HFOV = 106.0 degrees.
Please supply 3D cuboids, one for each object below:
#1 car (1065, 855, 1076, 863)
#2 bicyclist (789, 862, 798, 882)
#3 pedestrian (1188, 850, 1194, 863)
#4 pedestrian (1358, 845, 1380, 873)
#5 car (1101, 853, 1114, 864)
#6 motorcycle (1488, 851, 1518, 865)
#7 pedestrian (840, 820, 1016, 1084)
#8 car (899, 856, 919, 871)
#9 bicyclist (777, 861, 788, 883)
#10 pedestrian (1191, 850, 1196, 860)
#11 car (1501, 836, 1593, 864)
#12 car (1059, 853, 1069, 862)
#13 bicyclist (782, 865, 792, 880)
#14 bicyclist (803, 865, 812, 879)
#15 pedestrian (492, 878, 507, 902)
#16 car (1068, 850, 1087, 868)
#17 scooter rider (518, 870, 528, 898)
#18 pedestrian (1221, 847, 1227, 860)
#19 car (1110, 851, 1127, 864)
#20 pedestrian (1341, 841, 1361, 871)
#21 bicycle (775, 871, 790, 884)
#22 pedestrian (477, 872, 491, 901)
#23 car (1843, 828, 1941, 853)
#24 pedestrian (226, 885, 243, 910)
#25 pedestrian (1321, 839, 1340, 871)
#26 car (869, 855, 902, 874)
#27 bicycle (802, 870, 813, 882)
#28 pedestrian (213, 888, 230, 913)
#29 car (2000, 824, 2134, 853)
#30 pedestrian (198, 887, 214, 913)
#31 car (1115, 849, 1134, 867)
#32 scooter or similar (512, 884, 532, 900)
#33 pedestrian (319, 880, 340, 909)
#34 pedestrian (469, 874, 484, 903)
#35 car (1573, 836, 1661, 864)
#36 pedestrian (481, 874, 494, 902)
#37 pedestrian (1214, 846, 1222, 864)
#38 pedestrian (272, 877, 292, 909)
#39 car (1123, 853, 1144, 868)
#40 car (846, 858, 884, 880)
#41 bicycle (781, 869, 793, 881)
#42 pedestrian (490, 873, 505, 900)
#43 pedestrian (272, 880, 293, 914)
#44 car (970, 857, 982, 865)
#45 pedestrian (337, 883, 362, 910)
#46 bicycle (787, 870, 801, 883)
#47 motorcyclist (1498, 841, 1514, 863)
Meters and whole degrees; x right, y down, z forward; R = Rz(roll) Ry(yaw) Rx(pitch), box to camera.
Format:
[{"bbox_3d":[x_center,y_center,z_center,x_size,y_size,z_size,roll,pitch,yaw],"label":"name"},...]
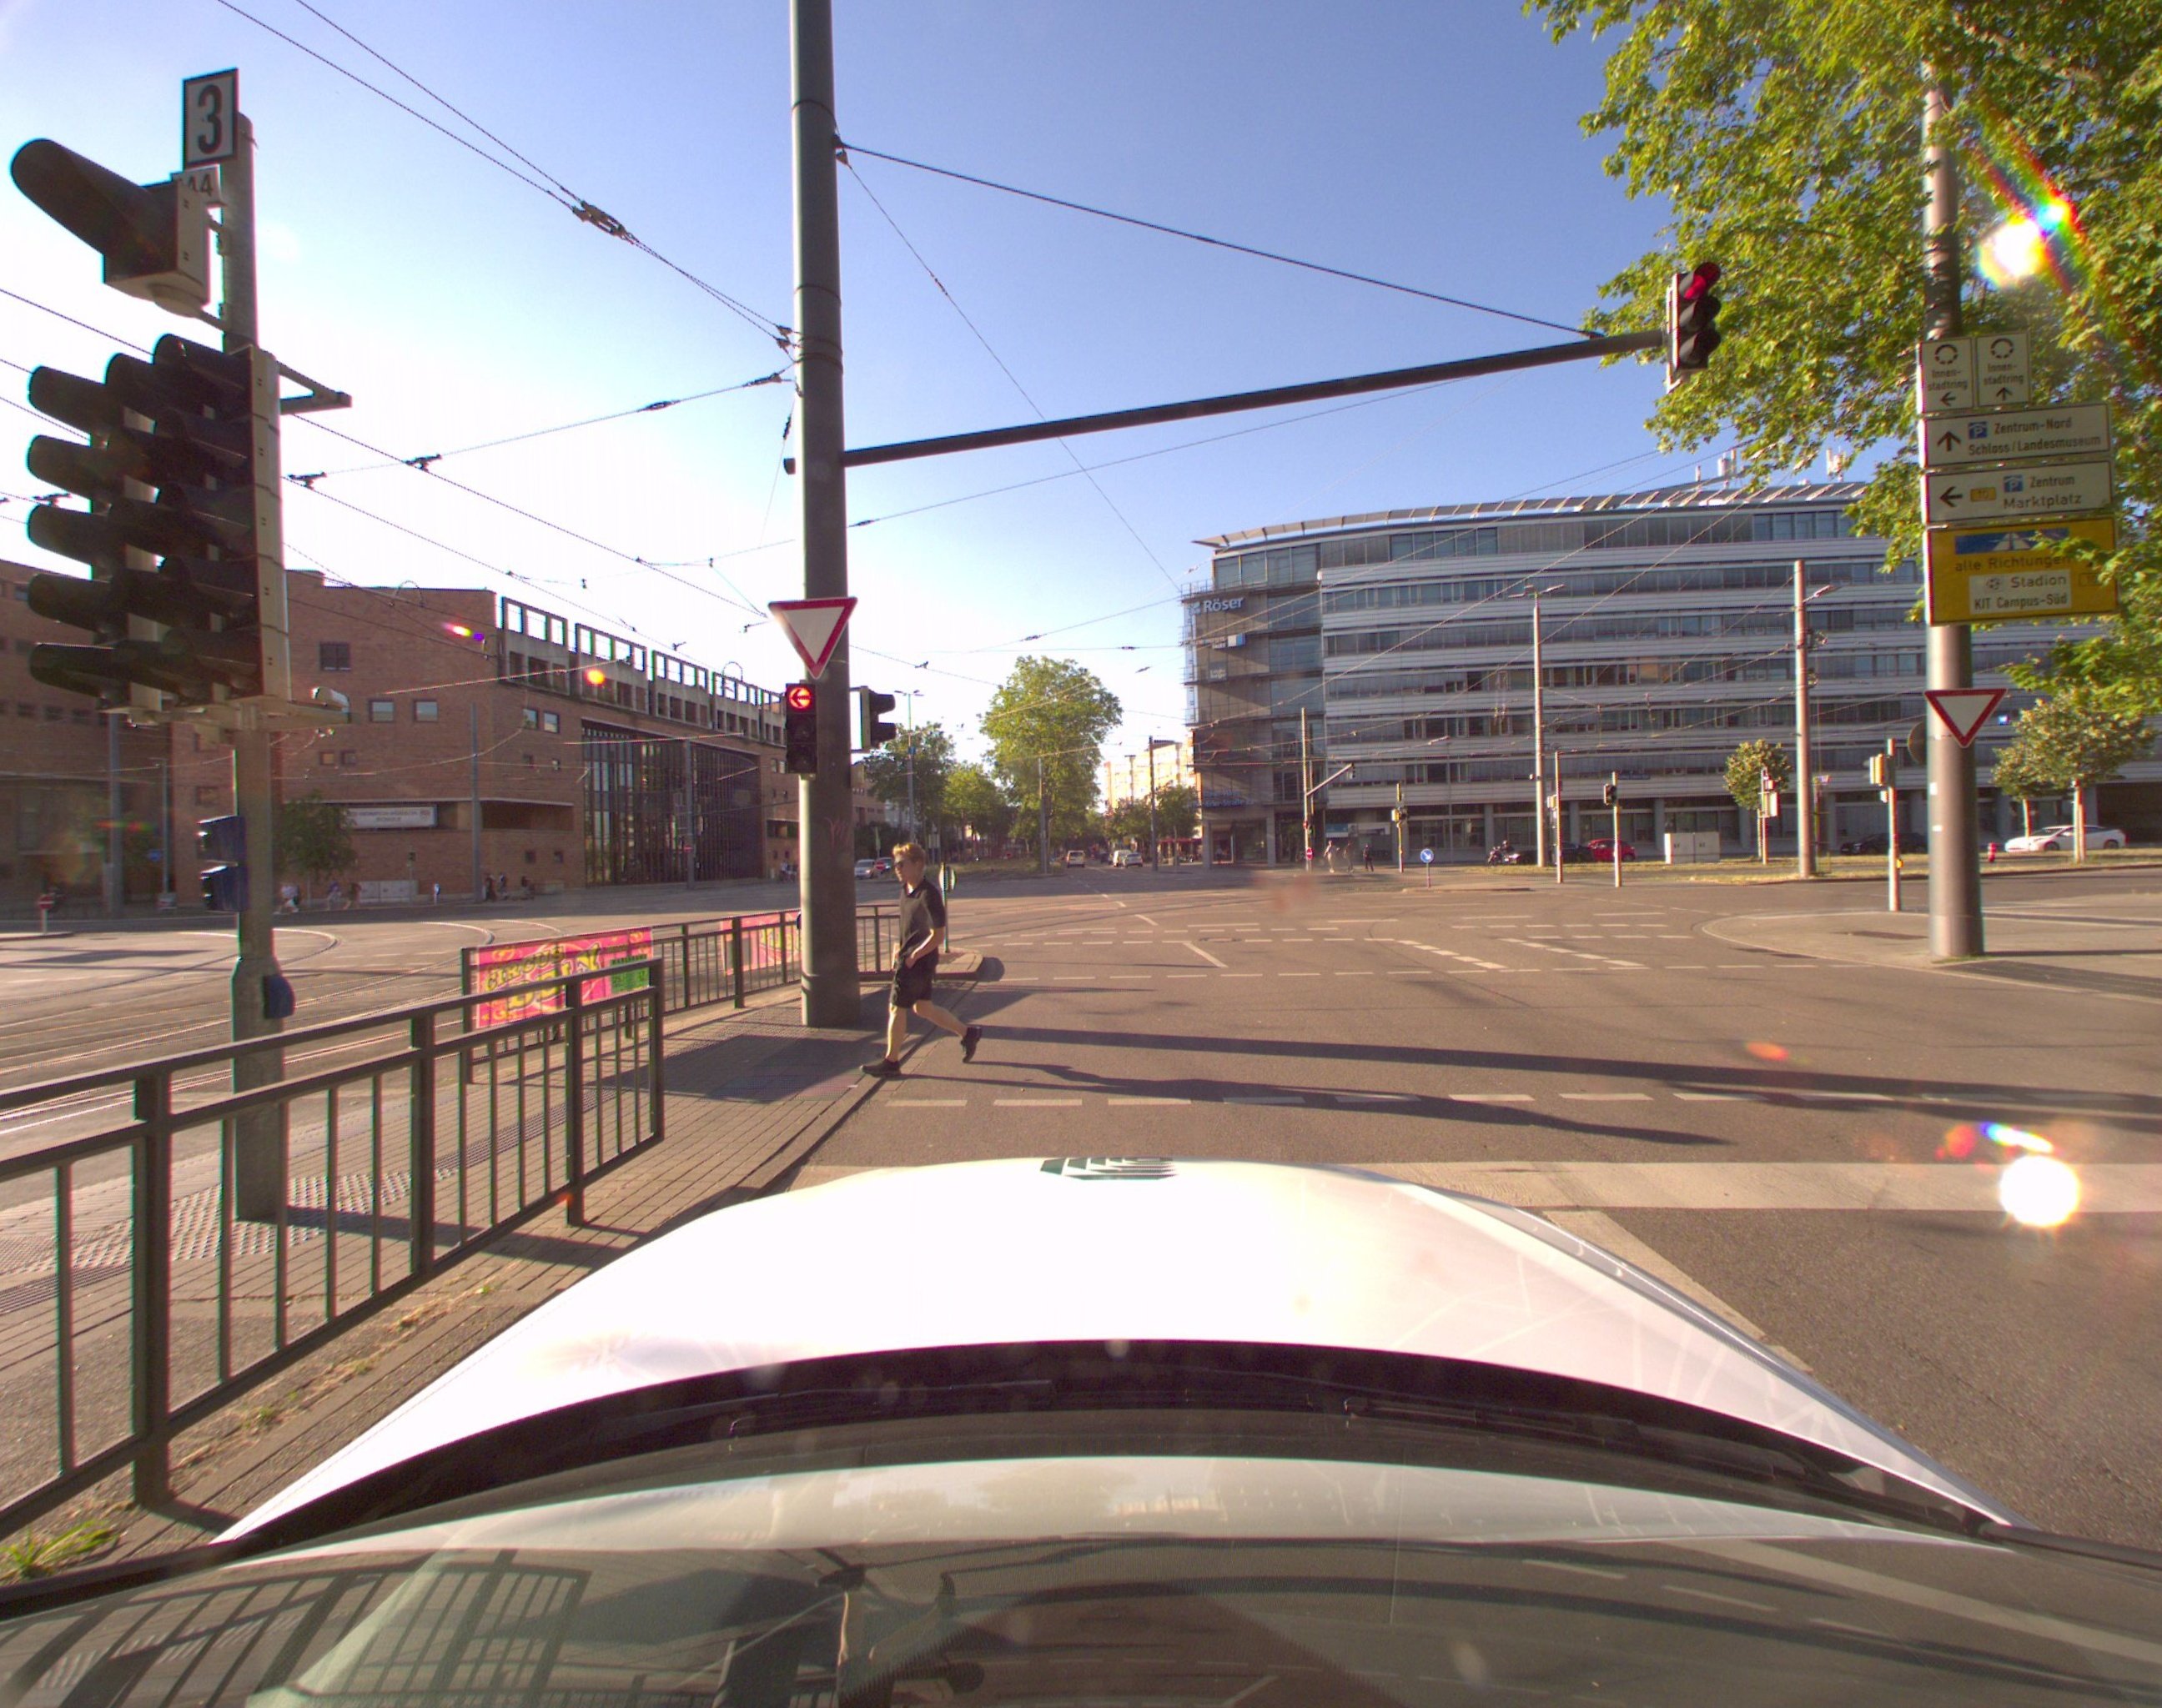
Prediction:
[{"bbox_3d":[-1.871,0.940,147.146,1.792,1.442,3.999,0,-1,0],"label":"car"},{"bbox_3d":[-23.443,1.455,66.478,0.456,1.603,0.581,-2,0,1],"label":"bicyclist"},{"bbox_3d":[14.177,0.336,104.841,0.741,1.714,0.612,-2,0,1],"label":"pedestrian"},{"bbox_3d":[16.342,0.285,46.205,0.943,1.564,0.899,-2,0,9],"label":"pedestrian"},{"bbox_3d":[4.094,0.658,126.775,1.986,1.618,4.002,-2,0,2],"label":"car"},{"bbox_3d":[25.407,0.244,49.035,1.560,0.810,0.468,-2,0,6],"label":"motorcycle"},{"bbox_3d":[-1.134,0.644,5.987,1.095,1.748,0.736,-1,0,-27],"label":"pedestrian"},{"bbox_3d":[-24.091,1.357,114.246,1.987,2.013,3.999,-2,0,-1],"label":"car"},{"bbox_3d":[-24.341,1.447,66.406,0.534,1.731,0.581,-2,0,1],"label":"bicyclist"},{"bbox_3d":[14.669,0.146,106.429,0.575,1.289,0.910,-2,0,2],"label":"pedestrian"},{"bbox_3d":[26.422,-0.243,46.240,4.136,1.398,1.789,-2,0,7],"label":"car"},{"bbox_3d":[-3.958,0.721,189.201,1.986,2.013,4.001,-2,0,1],"label":"car"},{"bbox_3d":[-25.059,1.574,69.423,0.503,1.304,0.581,-2,0,1],"label":"bicyclist"},{"bbox_3d":[-24.256,1.592,72.206,0.503,1.179,0.581,-2,0,1],"label":"bicyclist"},{"bbox_3d":[-35.705,2.211,50.028,0.600,1.421,0.637,-2,0,-24],"label":"pedestrian"},{"bbox_3d":[-0.372,0.493,89.611,1.955,1.848,5.329,-2,0,0],"label":"car"},{"bbox_3d":[-33.720,1.807,49.196,0.441,1.647,0.226,-2,0,-44],"label":"scooter rider"},{"bbox_3d":[15.892,-0.048,90.320,0.608,1.507,0.580,-2,0,9],"label":"pedestrian"},{"bbox_3d":[4.822,0.479,105.293,1.986,1.618,4.002,-2,0,2],"label":"car"},{"bbox_3d":[15.671,0.098,47.337,0.907,1.685,1.038,-2,0,9],"label":"pedestrian"},{"bbox_3d":[-24.336,1.892,66.404,0.540,0.963,1.587,-2,0,2],"label":"bicycle"},{"bbox_3d":[-36.674,1.990,50.014,0.551,1.683,0.568,-2,0,-27],"label":"pedestrian"},{"bbox_3d":[50.823,-0.843,51.120,4.136,1.398,1.789,-2,0,7],"label":"car"},{"bbox_3d":[-49.850,2.580,47.941,0.549,1.427,0.563,-2,0,32],"label":"pedestrian"},{"bbox_3d":[14.242,0.049,46.500,0.859,1.788,0.873,-2,0,5],"label":"pedestrian"},{"bbox_3d":[-18.115,0.963,75.526,1.987,1.640,4.001,-2,0,1],"label":"car"},{"bbox_3d":[-24.250,1.947,72.175,0.449,0.963,1.348,-2,0,2],"label":"bicycle"},{"bbox_3d":[-50.208,2.729,47.583,0.547,1.409,0.577,-2,0,35],"label":"pedestrian"},{"bbox_3d":[52.447,-0.795,43.416,4.580,1.336,1.789,-2,0,7],"label":"car"},{"bbox_3d":[-50.591,2.638,47.075,0.583,1.463,0.537,-2,0,35],"label":"pedestrian"},{"bbox_3d":[4.745,0.451,89.637,1.986,1.860,4.002,-2,0,2],"label":"car"},{"bbox_3d":[-33.727,2.278,49.148,0.956,0.899,0.173,-2,0,-45],"label":"scooter or similar"},{"bbox_3d":[-39.588,2.126,42.904,0.562,1.453,0.618,-2,0,30],"label":"pedestrian"},{"bbox_3d":[-36.578,2.096,49.272,0.624,1.683,0.645,-2,0,-30],"label":"pedestrian"},{"bbox_3d":[31.887,-0.228,48.551,3.966,1.393,1.789,-4,0,7],"label":"car"},{"bbox_3d":[-35.465,2.028,48.678,0.553,1.683,0.586,-2,0,-33],"label":"pedestrian"},{"bbox_3d":[12.019,0.105,71.314,0.608,1.507,0.580,-2,0,9],"label":"pedestrian"},{"bbox_3d":[-40.331,1.970,41.111,0.590,1.614,0.593,-2,0,34],"label":"pedestrian"},{"bbox_3d":[5.291,0.622,82.820,1.986,1.376,4.002,-2,0,2],"label":"car"},{"bbox_3d":[-18.005,1.219,67.951,1.987,1.640,4.001,-2,0,1],"label":"car"},{"bbox_3d":[-25.042,1.816,69.445,0.466,0.963,1.320,-2,0,2],"label":"bicycle"},{"bbox_3d":[-36.309,2.006,50.689,0.619,1.625,0.608,-2,0,-25],"label":"pedestrian"},{"bbox_3d":[-39.542,2.128,40.330,0.593,1.648,0.552,-2,0,31],"label":"pedestrian"},{"bbox_3d":[-24.948,1.631,193.347,1.986,1.816,4.002,-2,0,2],"label":"car"},{"bbox_3d":[-37.872,2.202,42.158,0.598,1.339,0.683,-2,0,10],"label":"pedestrian"},{"bbox_3d":[-23.428,1.849,66.461,0.471,0.963,1.576,-2,0,2],"label":"bicycle"},{"bbox_3d":[25.585,-0.141,49.030,0.708,1.275,0.460,-2,0,5],"label":"motorcyclist"}]
